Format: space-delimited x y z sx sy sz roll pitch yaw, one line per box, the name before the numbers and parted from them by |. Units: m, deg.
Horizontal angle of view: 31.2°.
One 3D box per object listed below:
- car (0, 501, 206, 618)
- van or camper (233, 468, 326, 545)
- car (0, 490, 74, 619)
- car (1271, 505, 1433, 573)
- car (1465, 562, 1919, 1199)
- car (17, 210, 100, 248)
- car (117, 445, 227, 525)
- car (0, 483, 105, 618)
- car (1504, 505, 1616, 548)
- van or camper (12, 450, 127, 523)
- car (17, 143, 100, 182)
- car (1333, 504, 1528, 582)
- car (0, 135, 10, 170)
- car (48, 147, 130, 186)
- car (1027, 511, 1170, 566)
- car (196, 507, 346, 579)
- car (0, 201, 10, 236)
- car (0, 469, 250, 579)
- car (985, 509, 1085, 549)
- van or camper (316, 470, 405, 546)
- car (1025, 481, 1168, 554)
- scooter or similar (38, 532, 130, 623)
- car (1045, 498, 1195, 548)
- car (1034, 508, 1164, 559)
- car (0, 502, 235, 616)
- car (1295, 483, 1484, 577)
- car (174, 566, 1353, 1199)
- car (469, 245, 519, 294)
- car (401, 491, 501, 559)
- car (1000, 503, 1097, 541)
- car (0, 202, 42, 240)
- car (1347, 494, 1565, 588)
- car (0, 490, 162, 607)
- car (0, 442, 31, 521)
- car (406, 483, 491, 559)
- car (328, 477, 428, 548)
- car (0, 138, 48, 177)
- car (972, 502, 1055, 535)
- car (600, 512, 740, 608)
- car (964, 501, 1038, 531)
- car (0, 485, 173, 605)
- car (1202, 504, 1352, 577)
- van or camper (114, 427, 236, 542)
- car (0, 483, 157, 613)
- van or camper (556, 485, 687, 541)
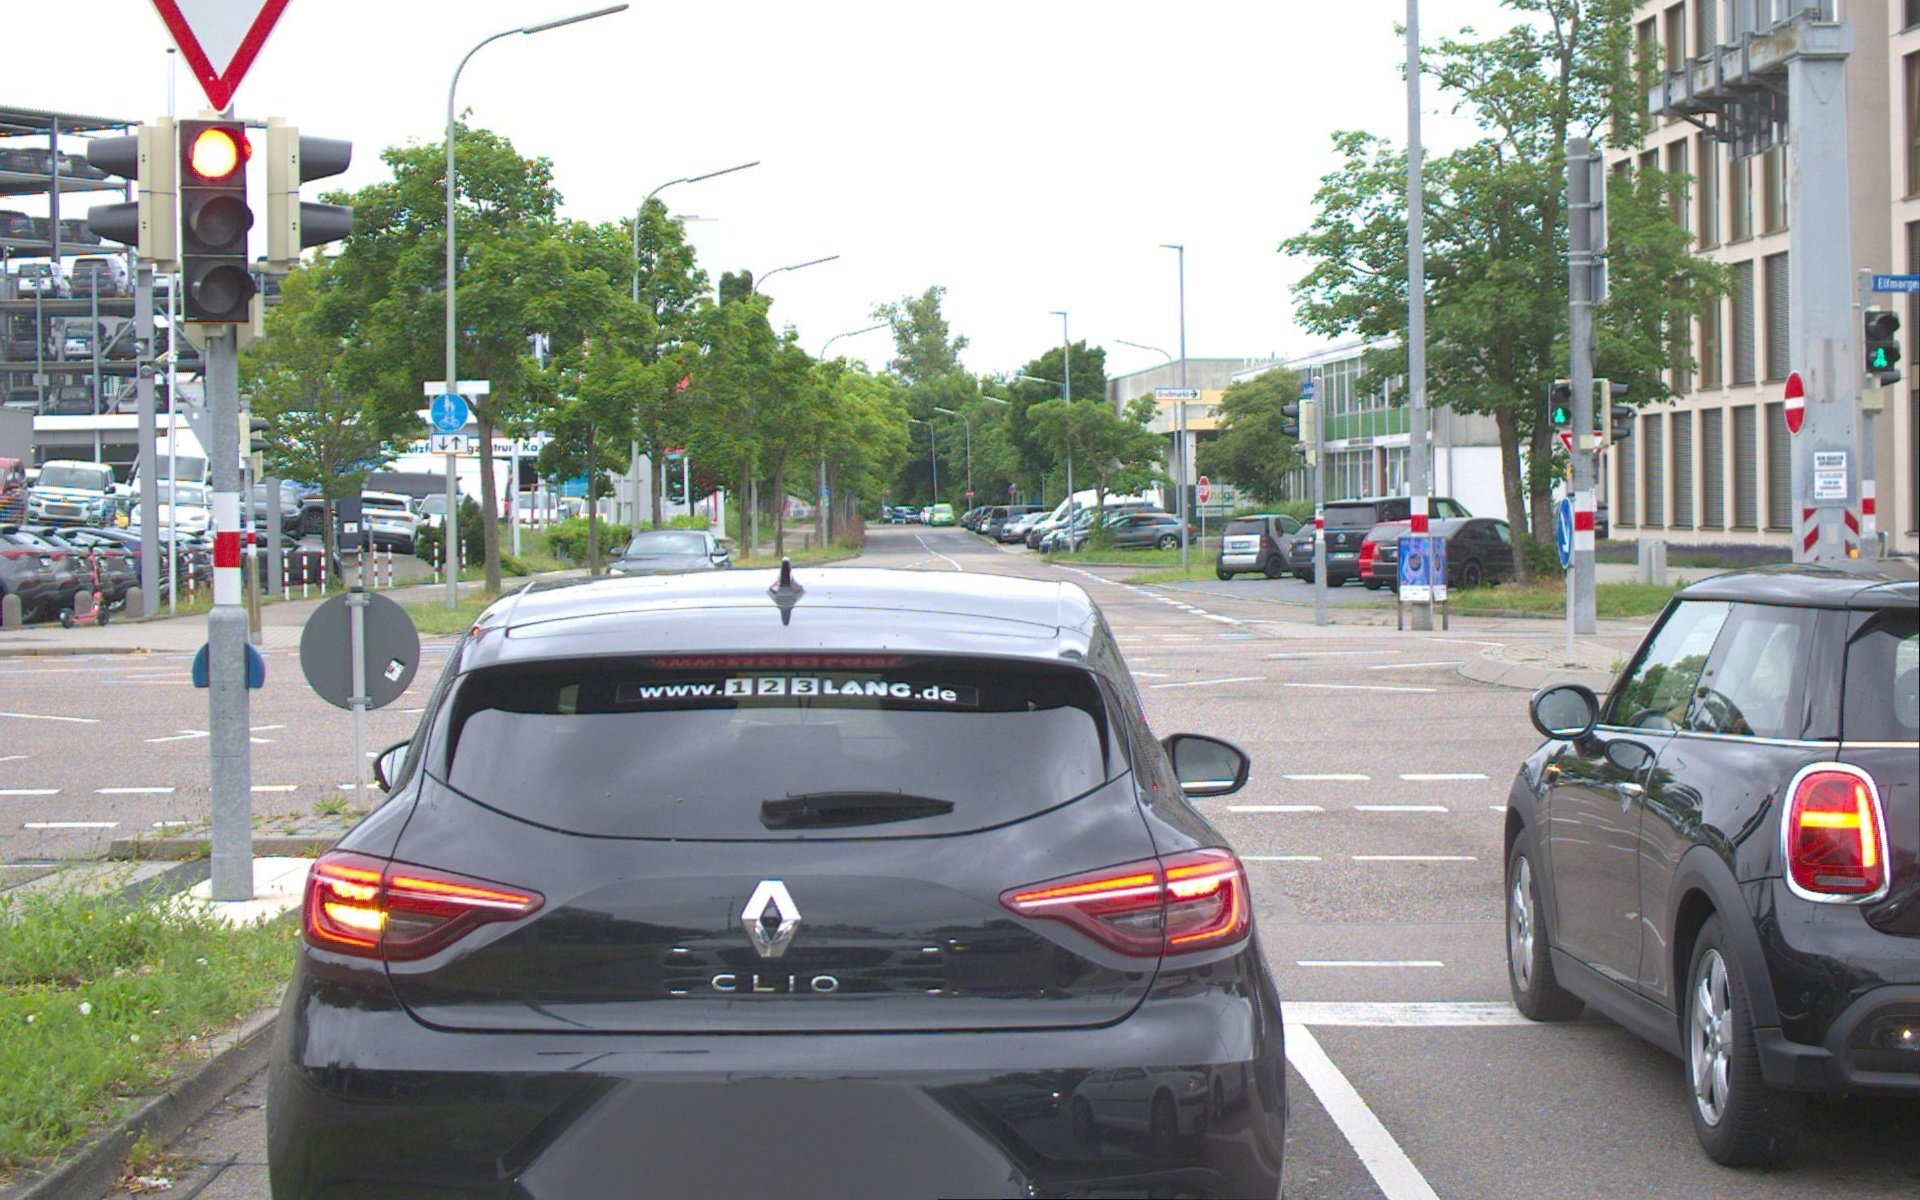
car | -16.798 -0.737 64.478 4.892 2.007 2.000 -3 1 -5
van or camper | -18.713 -2.551 94.648 1.993 2.007 4.001 1 1 -4
car | -15.782 -0.587 50.963 4.771 1.856 2.000 -3 1 -5
car | 8.863 -1.378 77.628 1.696 1.506 3.808 0 1 43
car | 2.545 0.618 9.239 1.786 1.411 3.643 1 1 -1
car | -47.057 -19.352 179.454 3.994 1.661 1.997 1 2 32
car | -19.083 -2.761 83.419 1.993 1.817 4.001 1 1 -4
car | -15.916 -0.693 53.531 4.700 2.007 2.000 -3 1 -4
car | 19.350 -2.367 110.840 3.229 1.328 1.486 1 1 -19
van or camper | -21.549 -2.724 83.293 1.993 1.645 4.001 1 1 -4
car | -47.074 -22.827 179.580 3.994 1.661 1.997 1 2 32
car | 9.750 -1.176 71.026 1.887 1.546 4.123 0 1 45
car | -50.305 -22.654 174.118 3.994 1.661 1.997 1 2 32
car | -45.978 -22.880 181.523 3.994 1.661 1.997 1 2 32
car | 5.180 -2.298 128.960 5.173 2.007 2.144 1 0 -2
car | -19.797 -1.633 98.898 3.986 2.007 2.000 1 0 -3
car | -50.284 -19.308 174.145 3.994 1.661 1.997 1 2 32
car | -17.099 -1.534 70.020 4.892 2.007 2.000 -3 1 -5
car | 3.960 -3.755 182.148 5.173 2.007 2.144 1 0 -1
van or camper | -16.514 -2.523 94.840 1.993 2.007 4.001 1 1 -4
car | 5.998 -3.625 151.556 6.116 3.105 2.134 1 0 -1
scooter or similar | -12.299 -0.326 48.297 0.557 1.214 1.559 2 2 13
car | 5.716 -2.763 123.484 5.173 1.714 2.144 1 0 -2
car | 5.332 -2.560 132.217 4.785 1.885 2.144 1 0 -2
car | -16.830 -0.795 67.198 4.892 2.007 2.000 -3 1 -5
car | 9.293 -1.500 74.222 1.998 1.959 4.235 0 1 41
car | -0.320 0.656 7.166 1.757 1.430 4.000 1 1 -1
car | -21.492 -15.222 158.657 1.993 1.876 4.001 -1 1 -5
car | -12.479 -1.823 84.420 1.993 1.612 4.000 1 1 -2
car | 4.521 -3.978 175.539 4.785 1.885 2.144 1 0 -2
car | -49.190 -19.393 176.102 3.994 1.661 1.997 1 2 32
car | 9.631 -1.143 66.638 4.121 1.762 1.888 -1 1 -40
car | -16.423 -0.828 59.167 4.945 1.870 2.054 -3 1 -6
car | -24.004 -2.876 83.530 1.993 1.842 4.001 1 1 -4
car | -14.125 -2.162 95.050 1.993 2.007 4.001 1 1 -4
car | -14.074 -2.099 83.305 1.993 1.612 4.001 1 1 -4
car | -48.914 -22.652 176.228 3.994 1.661 1.997 1 2 32
car | 3.375 -5.194 218.932 5.173 2.007 2.144 1 0 -1
car | -4.962 -0.721 59.290 1.978 1.546 4.614 -1 2 0
car | 2.715 -5.619 229.844 4.785 1.885 2.144 1 0 -2
car | -16.703 -0.942 61.657 4.772 2.007 2.000 -3 1 -6
car | 7.750 -1.443 83.940 3.424 1.726 1.765 0 1 -42
van or camper | -21.560 -3.134 94.649 2.535 3.016 4.844 1 1 -4
car | -15.971 -0.784 56.538 5.022 2.007 2.266 -3 1 -5
van or camper | -14.906 -3.817 151.590 5.598 2.363 2.000 1 0 -1
